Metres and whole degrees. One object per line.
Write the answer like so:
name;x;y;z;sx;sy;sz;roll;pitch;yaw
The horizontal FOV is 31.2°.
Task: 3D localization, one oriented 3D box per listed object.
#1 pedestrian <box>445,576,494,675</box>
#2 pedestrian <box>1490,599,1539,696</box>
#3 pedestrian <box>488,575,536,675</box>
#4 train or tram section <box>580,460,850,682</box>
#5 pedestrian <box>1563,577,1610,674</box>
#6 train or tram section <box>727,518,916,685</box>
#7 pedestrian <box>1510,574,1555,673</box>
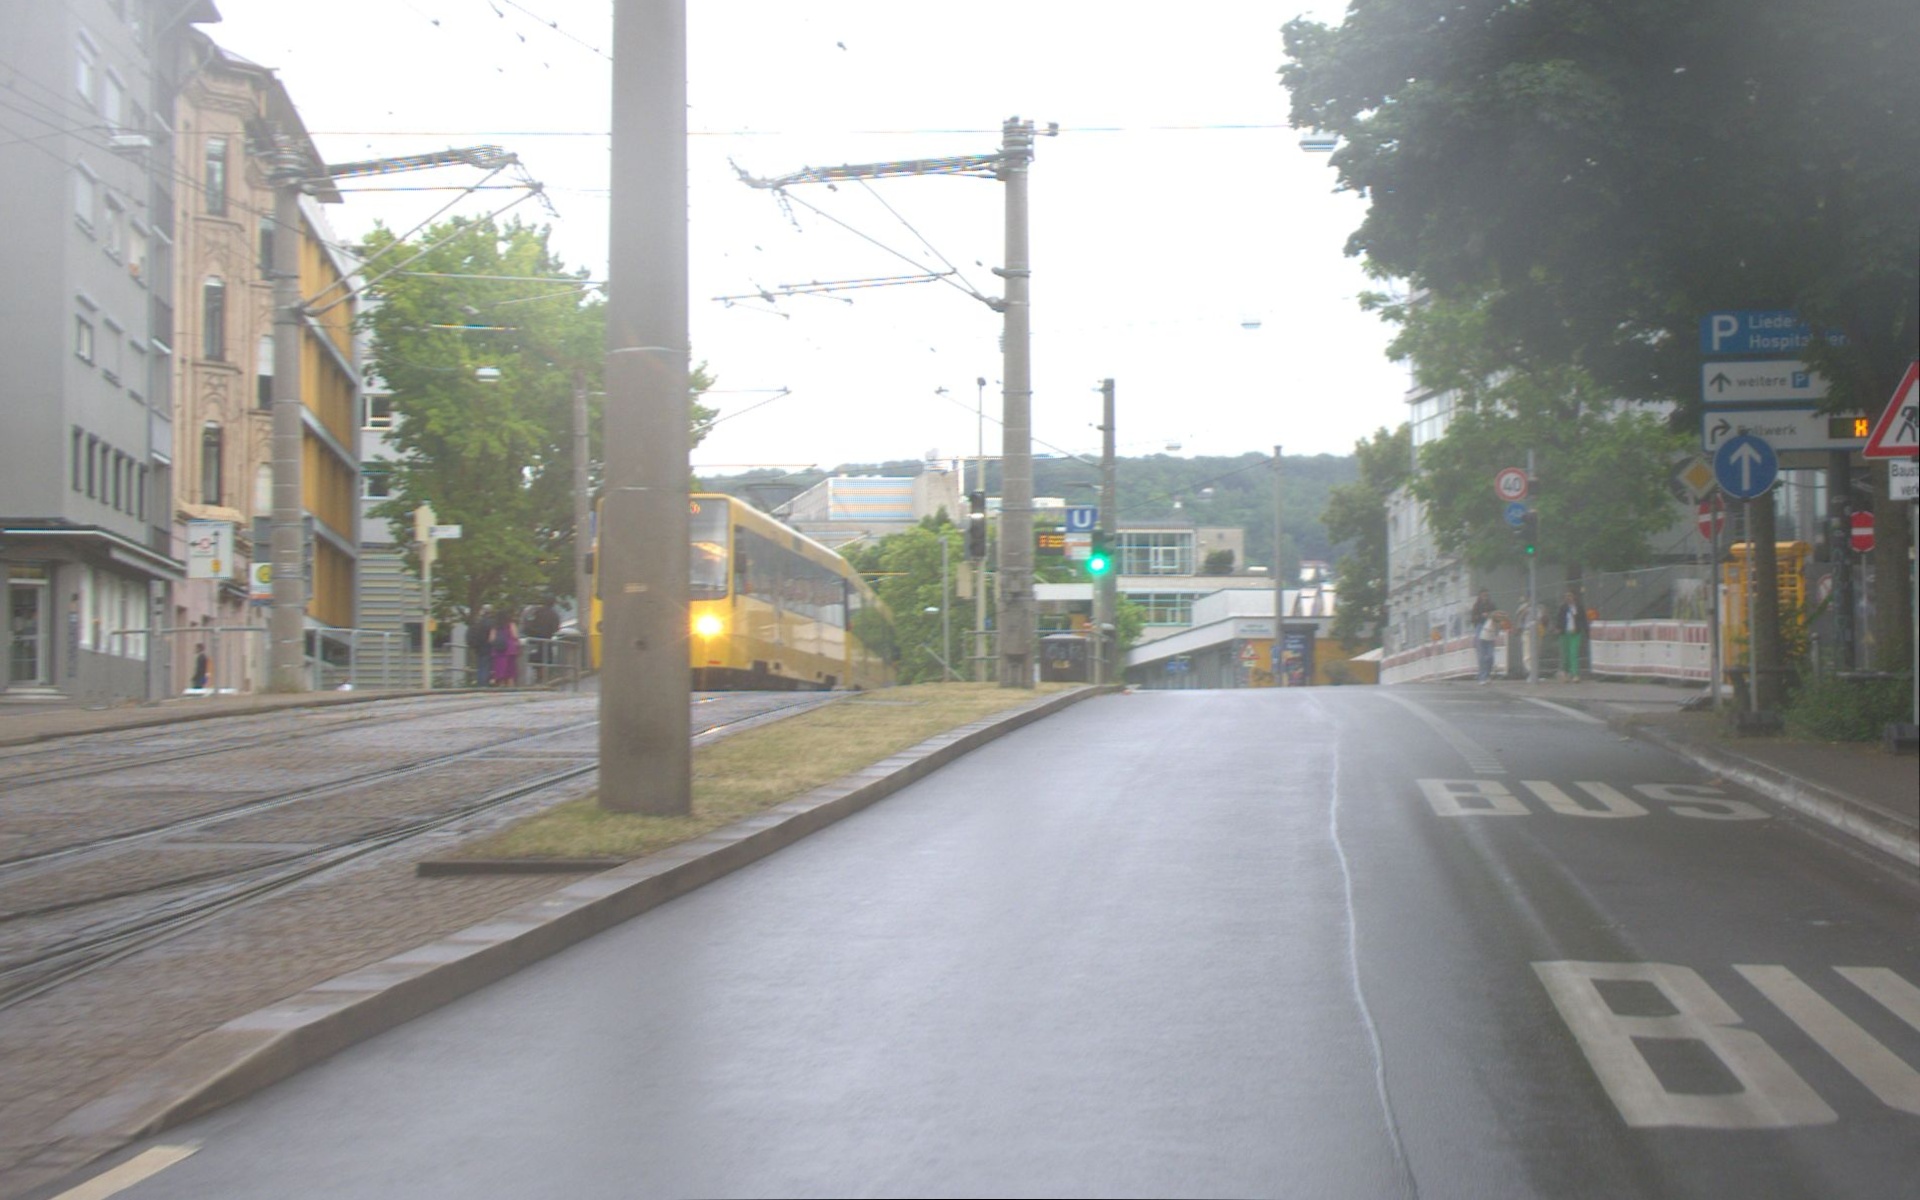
pedestrian;-8.913;0.457;62.499;0.732;1.784;0.696;-1;0;4
pedestrian;9.945;0.838;61.728;0.737;1.724;1.118;0;0;2
pedestrian;-8.115;0.452;62.314;0.732;1.784;0.696;-1;0;4
train or tram section;-4.473;-0.277;68.025;2.746;3.684;18.966;0;-2;4
pedestrian;11.526;0.470;63.277;0.700;1.779;1.067;0;0;2
train or tram section;-3.245;0.253;86.930;2.746;3.684;18.966;0;-2;4
pedestrian;10.599;0.436;63.632;0.700;1.809;0.977;0;0;2
